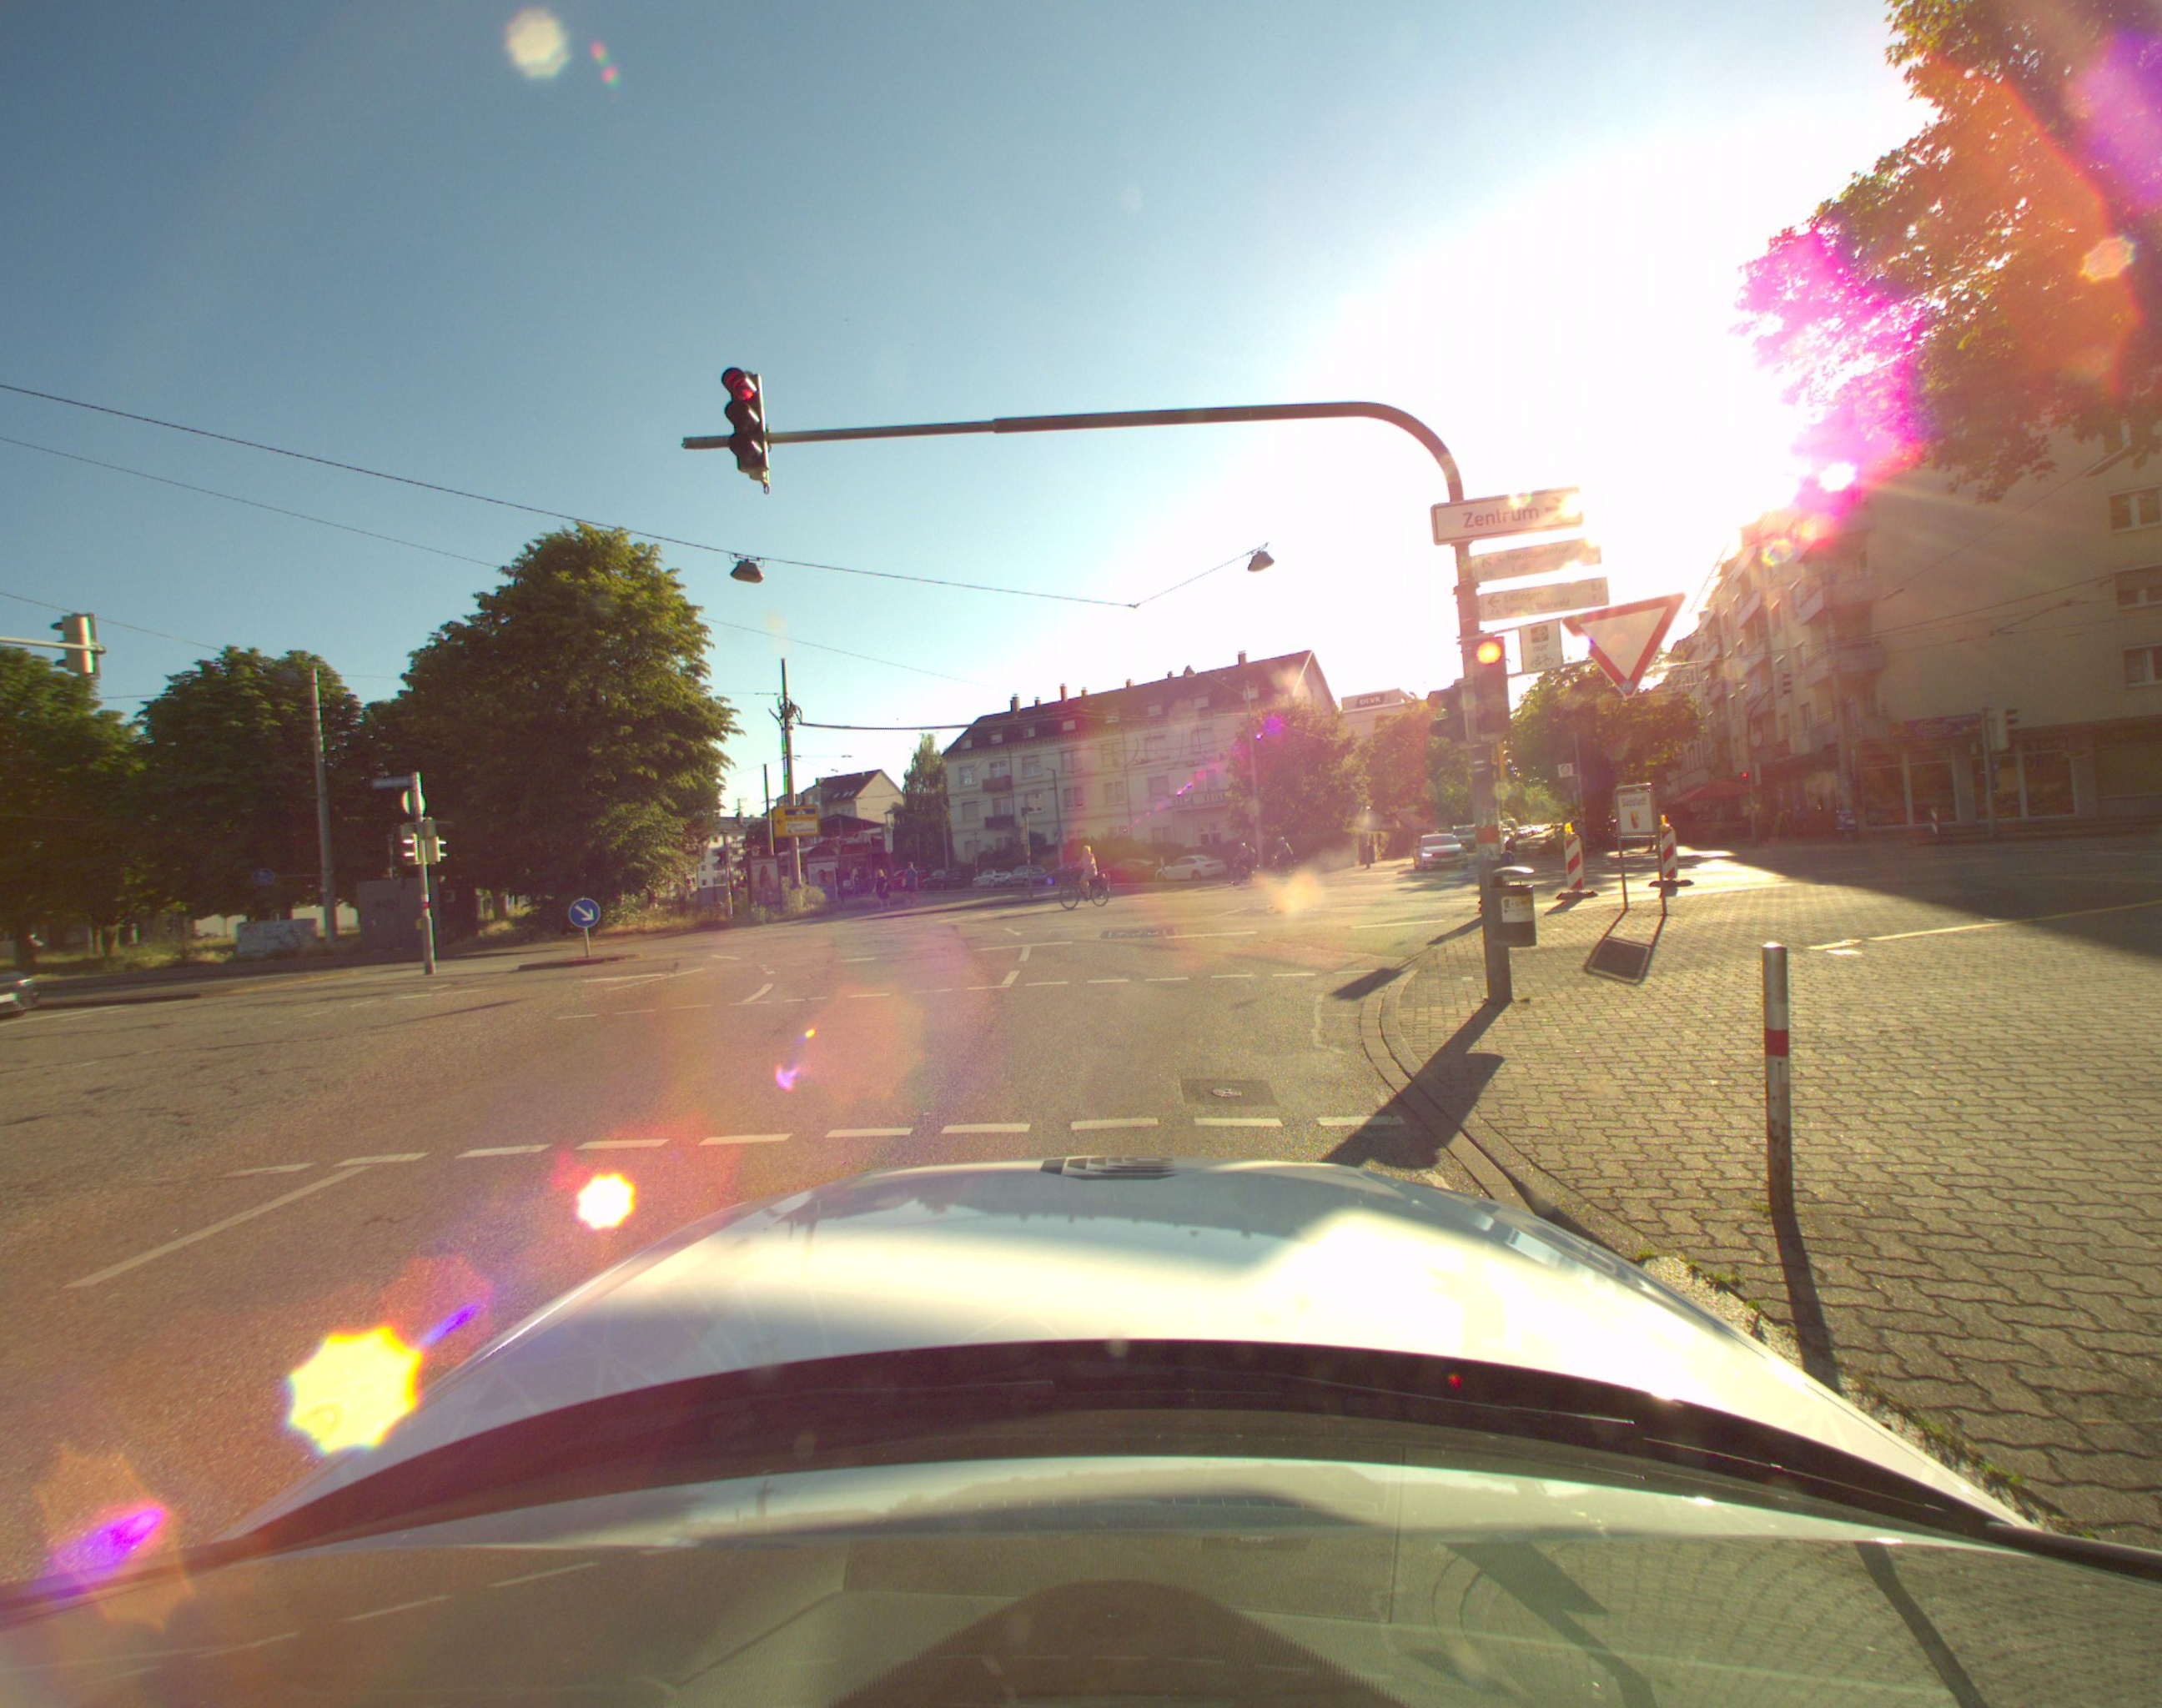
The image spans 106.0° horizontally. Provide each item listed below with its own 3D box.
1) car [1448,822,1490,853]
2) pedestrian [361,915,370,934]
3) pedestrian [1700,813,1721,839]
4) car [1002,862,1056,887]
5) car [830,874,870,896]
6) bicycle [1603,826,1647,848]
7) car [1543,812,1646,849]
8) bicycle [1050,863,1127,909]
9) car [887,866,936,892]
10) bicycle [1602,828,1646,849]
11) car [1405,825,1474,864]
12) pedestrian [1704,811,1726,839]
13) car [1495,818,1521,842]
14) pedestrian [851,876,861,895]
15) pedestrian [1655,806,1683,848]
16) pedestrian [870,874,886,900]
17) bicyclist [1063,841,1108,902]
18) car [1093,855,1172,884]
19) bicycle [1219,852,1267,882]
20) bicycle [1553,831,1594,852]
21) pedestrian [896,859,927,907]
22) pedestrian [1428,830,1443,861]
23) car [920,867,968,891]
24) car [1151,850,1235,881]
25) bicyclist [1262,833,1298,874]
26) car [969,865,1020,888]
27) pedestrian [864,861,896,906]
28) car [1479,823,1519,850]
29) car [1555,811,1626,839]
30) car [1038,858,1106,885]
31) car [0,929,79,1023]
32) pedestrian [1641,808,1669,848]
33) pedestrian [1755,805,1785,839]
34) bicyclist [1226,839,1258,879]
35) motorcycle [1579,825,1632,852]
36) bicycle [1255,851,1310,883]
[{"bbox_3d":[28.386,-1.228,59.440,2.332,2.013,5.343,-5,-1,28],"label":"car"},{"bbox_3d":[-57.972,5.722,65.993,0.406,1.507,0.370,-4,-1,-26],"label":"pedestrian"},{"bbox_3d":[34.054,-1.524,44.058,0.803,1.362,0.920,-5,-1,36],"label":"pedestrian"},{"bbox_3d":[-3.745,1.466,58.110,1.998,1.447,3.676,-7,1,-39],"label":"car"},{"bbox_3d":[-23.846,3.209,83.941,2.067,1.961,5.091,-7,1,-39],"label":"car"},{"bbox_3d":[26.469,-0.816,39.653,1.707,0.932,0.565,-5,-1,31],"label":"bicycle"},{"bbox_3d":[34.252,-1.541,54.541,5.567,1.924,2.377,-5,-2,28],"label":"car"},{"bbox_3d":[0.215,0.872,22.422,2.027,1.069,0.657,-4,-1,-33],"label":"bicycle"},{"bbox_3d":[-15.204,2.245,72.756,2.067,1.961,5.091,-7,1,-39],"label":"car"},{"bbox_3d":[26.868,-0.769,40.317,1.707,0.932,0.565,-5,-1,31],"label":"bicycle"},{"bbox_3d":[14.530,-0.338,33.231,1.878,1.486,4.014,-1,-1,13],"label":"car"},{"bbox_3d":[33.375,-1.528,42.903,0.803,1.362,0.920,-5,-1,36],"label":"pedestrian"},{"bbox_3d":[47.944,-2.691,91.340,2.332,2.514,5.343,-5,-1,28],"label":"car"},{"bbox_3d":[-18.478,2.560,66.985,0.569,1.500,0.672,-4,-1,-27],"label":"pedestrian"},{"bbox_3d":[25.870,-1.182,35.829,0.799,1.750,0.685,-4,-1,-38],"label":"pedestrian"},{"bbox_3d":[-16.488,2.684,66.038,0.928,2.013,0.761,-4,0,-34],"label":"pedestrian"},{"bbox_3d":[0.109,0.476,22.472,0.860,1.605,0.769,-4,-1,-32],"label":"bicyclist"},{"bbox_3d":[3.123,0.950,50.190,1.999,1.376,4.647,-7,1,-44],"label":"car"},{"bbox_3d":[6.578,0.518,32.948,2.029,1.069,0.656,-4,-1,-37],"label":"bicycle"},{"bbox_3d":[24.919,-0.637,41.193,1.707,0.932,0.676,-5,-1,31],"label":"bicycle"},{"bbox_3d":[-7.071,1.205,34.085,0.908,1.925,1.068,-4,-1,1],"label":"pedestrian"},{"bbox_3d":[22.181,-0.533,50.908,0.655,1.839,0.687,-4,-1,30],"label":"pedestrian"},{"bbox_3d":[-11.408,2.085,67.622,1.855,1.667,4.319,-7,1,-39],"label":"car"},{"bbox_3d":[6.270,0.679,46.119,1.941,1.376,4.443,-7,1,-40],"label":"car"},{"bbox_3d":[7.772,-0.012,31.827,1.038,1.532,0.693,-4,-1,-21],"label":"bicyclist"},{"bbox_3d":[-6.588,1.738,61.670,1.855,1.447,3.912,-7,1,-39],"label":"car"},{"bbox_3d":[-8.254,1.209,33.504,0.908,1.747,1.068,-4,-1,1],"label":"pedestrian"},{"bbox_3d":[27.848,-1.185,54.225,1.875,1.564,4.421,-4,0,32],"label":"car"},{"bbox_3d":[44.680,-2.506,71.613,5.042,1.924,2.377,-5,-2,28],"label":"car"},{"bbox_3d":[-0.670,1.204,54.791,1.998,1.447,4.650,-7,1,-39],"label":"car"},{"bbox_3d":[-21.393,2.372,14.625,4.415,1.567,2.057,-4,0,5],"label":"car"},{"bbox_3d":[25.950,-1.175,36.837,0.799,1.750,0.710,-4,-1,-38],"label":"pedestrian"},{"bbox_3d":[33.539,-1.556,39.640,0.804,1.544,0.919,-5,-1,25],"label":"pedestrian"},{"bbox_3d":[6.514,0.199,33.016,1.042,1.532,0.653,-4,-1,-37],"label":"bicyclist"},{"bbox_3d":[24.968,-0.715,38.799,1.933,1.109,0.842,-5,-1,26],"label":"motorcycle"},{"bbox_3d":[7.863,0.505,31.764,2.021,1.069,0.658,-4,-1,-23],"label":"bicycle"}]
